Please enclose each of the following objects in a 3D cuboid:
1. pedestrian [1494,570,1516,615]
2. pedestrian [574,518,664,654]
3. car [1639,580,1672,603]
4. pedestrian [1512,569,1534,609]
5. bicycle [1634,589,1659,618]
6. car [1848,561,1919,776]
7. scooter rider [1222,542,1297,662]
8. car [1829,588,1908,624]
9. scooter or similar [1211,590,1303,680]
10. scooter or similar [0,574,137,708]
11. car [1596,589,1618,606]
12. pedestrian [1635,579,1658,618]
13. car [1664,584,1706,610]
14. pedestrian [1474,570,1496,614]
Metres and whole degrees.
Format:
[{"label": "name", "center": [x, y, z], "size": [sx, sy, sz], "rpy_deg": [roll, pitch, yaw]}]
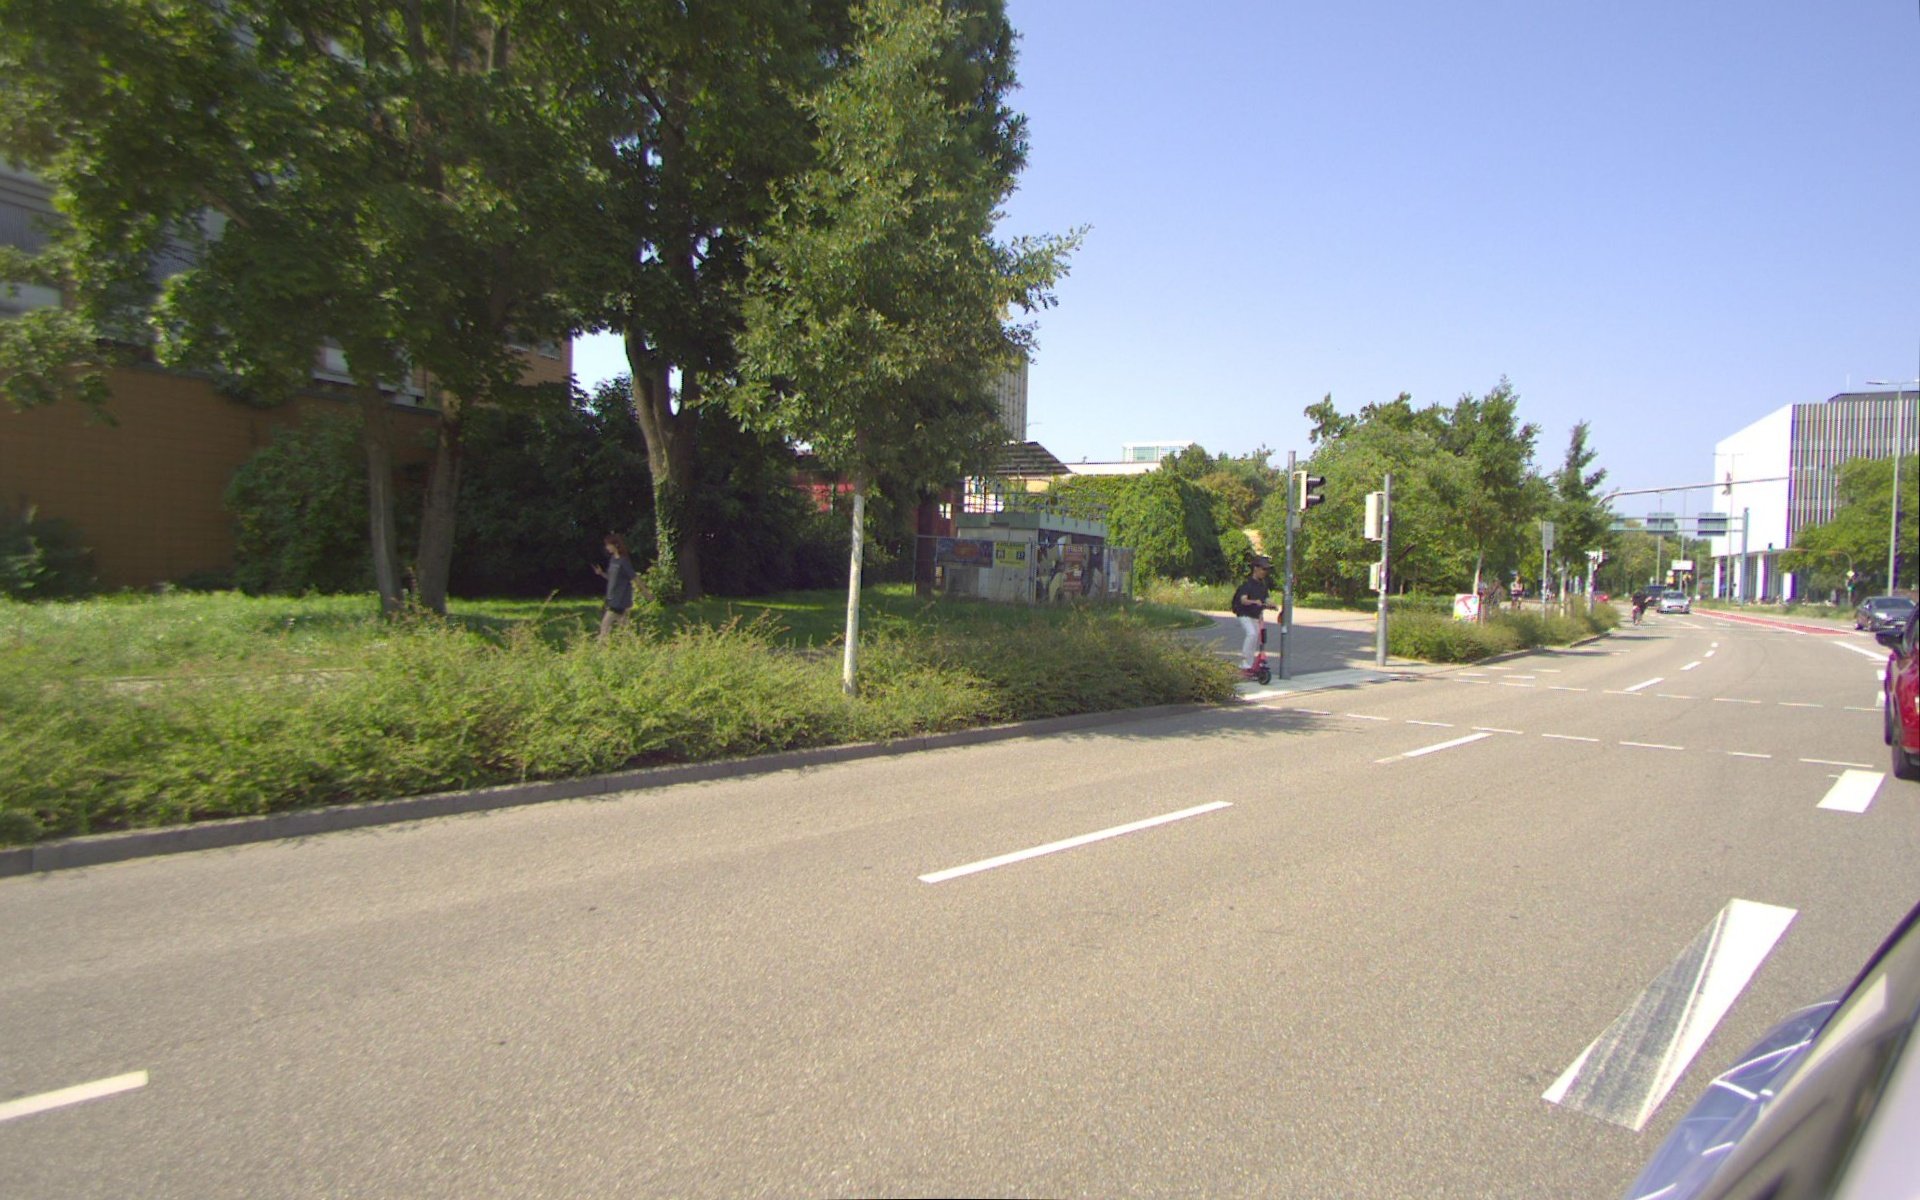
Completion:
[{"label": "pedestrian", "center": [22.394, -0.309, 41.560], "size": [0.689, 1.793, 0.581], "rpy_deg": [2, 2, 33]}, {"label": "pedestrian", "center": [-4.532, -0.201, 13.441], "size": [0.706, 1.725, 0.865], "rpy_deg": [5, 4, 44]}, {"label": "car", "center": [57.941, -0.735, 84.325], "size": [1.984, 1.801, 3.956], "rpy_deg": [2, 2, 31]}, {"label": "pedestrian", "center": [25.866, -0.511, 46.476], "size": [0.788, 1.790, 0.817], "rpy_deg": [2, 2, 32]}, {"label": "bicycle", "center": [30.752, 0.128, 45.340], "size": [0.780, 1.227, 1.769], "rpy_deg": [2, 2, 32]}, {"label": "car", "center": [9.014, 0.516, 8.531], "size": [1.834, 1.634, 3.950], "rpy_deg": [2, 2, 35]}, {"label": "scooter rider", "center": [4.553, 0.012, 15.406], "size": [0.674, 1.760, 0.807], "rpy_deg": [1, 2, -22]}, {"label": "car", "center": [37.142, 0.226, 41.465], "size": [1.777, 1.374, 3.387], "rpy_deg": [1, 1, 31]}, {"label": "scooter or similar", "center": [4.490, 0.505, 15.377], "size": [0.573, 1.249, 1.371], "rpy_deg": [1, 2, -22]}, {"label": "scooter or similar", "center": [-8.179, 0.332, 8.459], "size": [1.969, 1.073, 0.557], "rpy_deg": [2, 3, -42]}, {"label": "car", "center": [75.513, -0.304, 118.177], "size": [1.984, 1.801, 3.956], "rpy_deg": [2, 2, 31]}, {"label": "pedestrian", "center": [30.682, -0.072, 45.218], "size": [0.775, 1.689, 0.543], "rpy_deg": [2, 2, 32]}, {"label": "car", "center": [50.469, -0.201, 70.488], "size": [1.984, 1.699, 3.956], "rpy_deg": [2, 2, 31]}, {"label": "pedestrian", "center": [21.710, -0.351, 41.843], "size": [0.689, 1.793, 0.581], "rpy_deg": [2, 2, 33]}]
